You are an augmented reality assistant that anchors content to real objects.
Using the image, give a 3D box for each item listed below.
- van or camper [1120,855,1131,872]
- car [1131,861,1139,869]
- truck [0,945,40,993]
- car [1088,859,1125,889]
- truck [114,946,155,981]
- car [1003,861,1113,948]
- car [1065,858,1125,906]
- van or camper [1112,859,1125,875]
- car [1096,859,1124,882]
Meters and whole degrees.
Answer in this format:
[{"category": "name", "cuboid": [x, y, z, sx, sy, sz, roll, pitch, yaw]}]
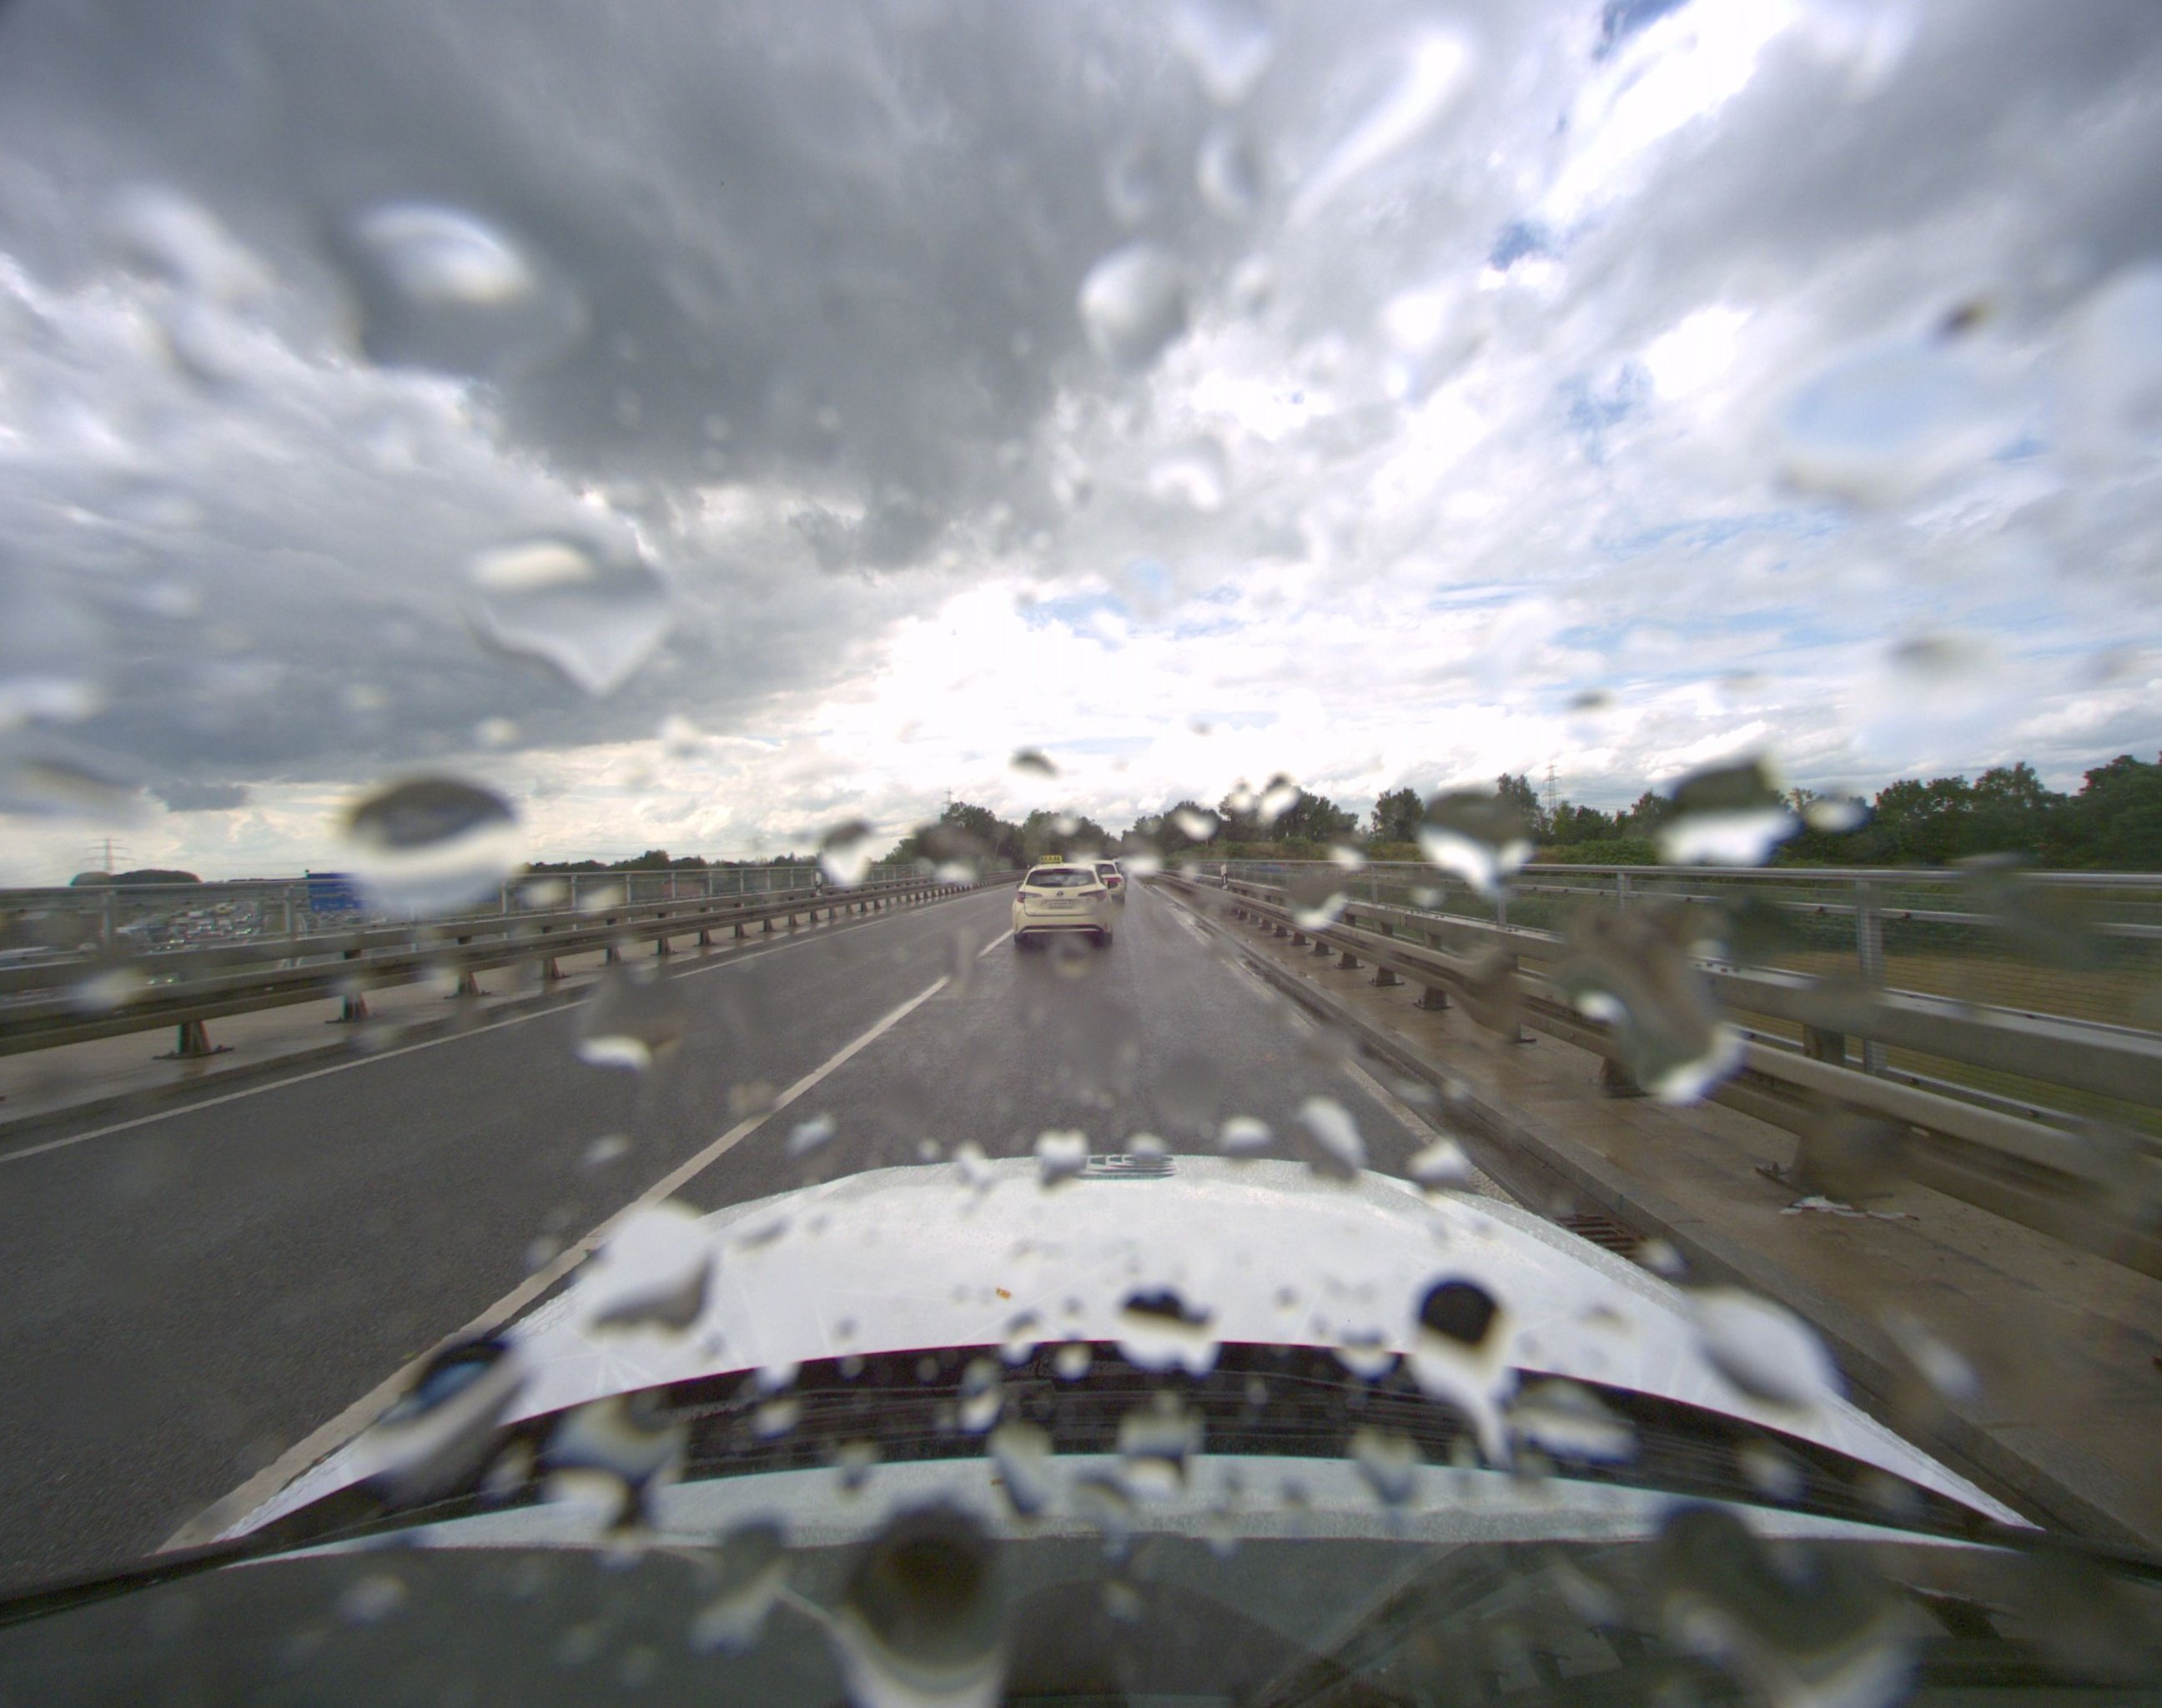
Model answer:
[{"category": "van or camper", "cuboid": [9.599, 2.030, 175.888, 2.323, 3.562, 6.310, 0, 0, 2]}, {"category": "car", "cuboid": [13.753, 2.697, 207.781, 1.986, 2.014, 4.001, 0, 0, 1]}, {"category": "truck", "cuboid": [-108.258, 11.550, 82.062, 2.451, 3.762, 11.033, 0, -1, -43]}, {"category": "car", "cuboid": [1.330, 1.008, 42.395, 1.847, 1.443, 4.173, 0, 0, 2]}, {"category": "truck", "cuboid": [-135.739, 15.683, 116.936, 2.450, 3.762, 11.035, 0, -1, -42]}, {"category": "car", "cuboid": [-0.305, 0.862, 15.690, 1.847, 1.394, 4.173, 0, 0, 2]}, {"category": "car", "cuboid": [0.511, 0.885, 27.210, 1.847, 1.443, 4.173, 0, 0, 2]}, {"category": "van or camper", "cuboid": [6.825, 2.312, 148.552, 2.323, 2.864, 6.310, 0, 0, 2]}, {"category": "car", "cuboid": [2.014, 1.125, 56.889, 1.847, 1.443, 4.173, 0, 0, 2]}]
